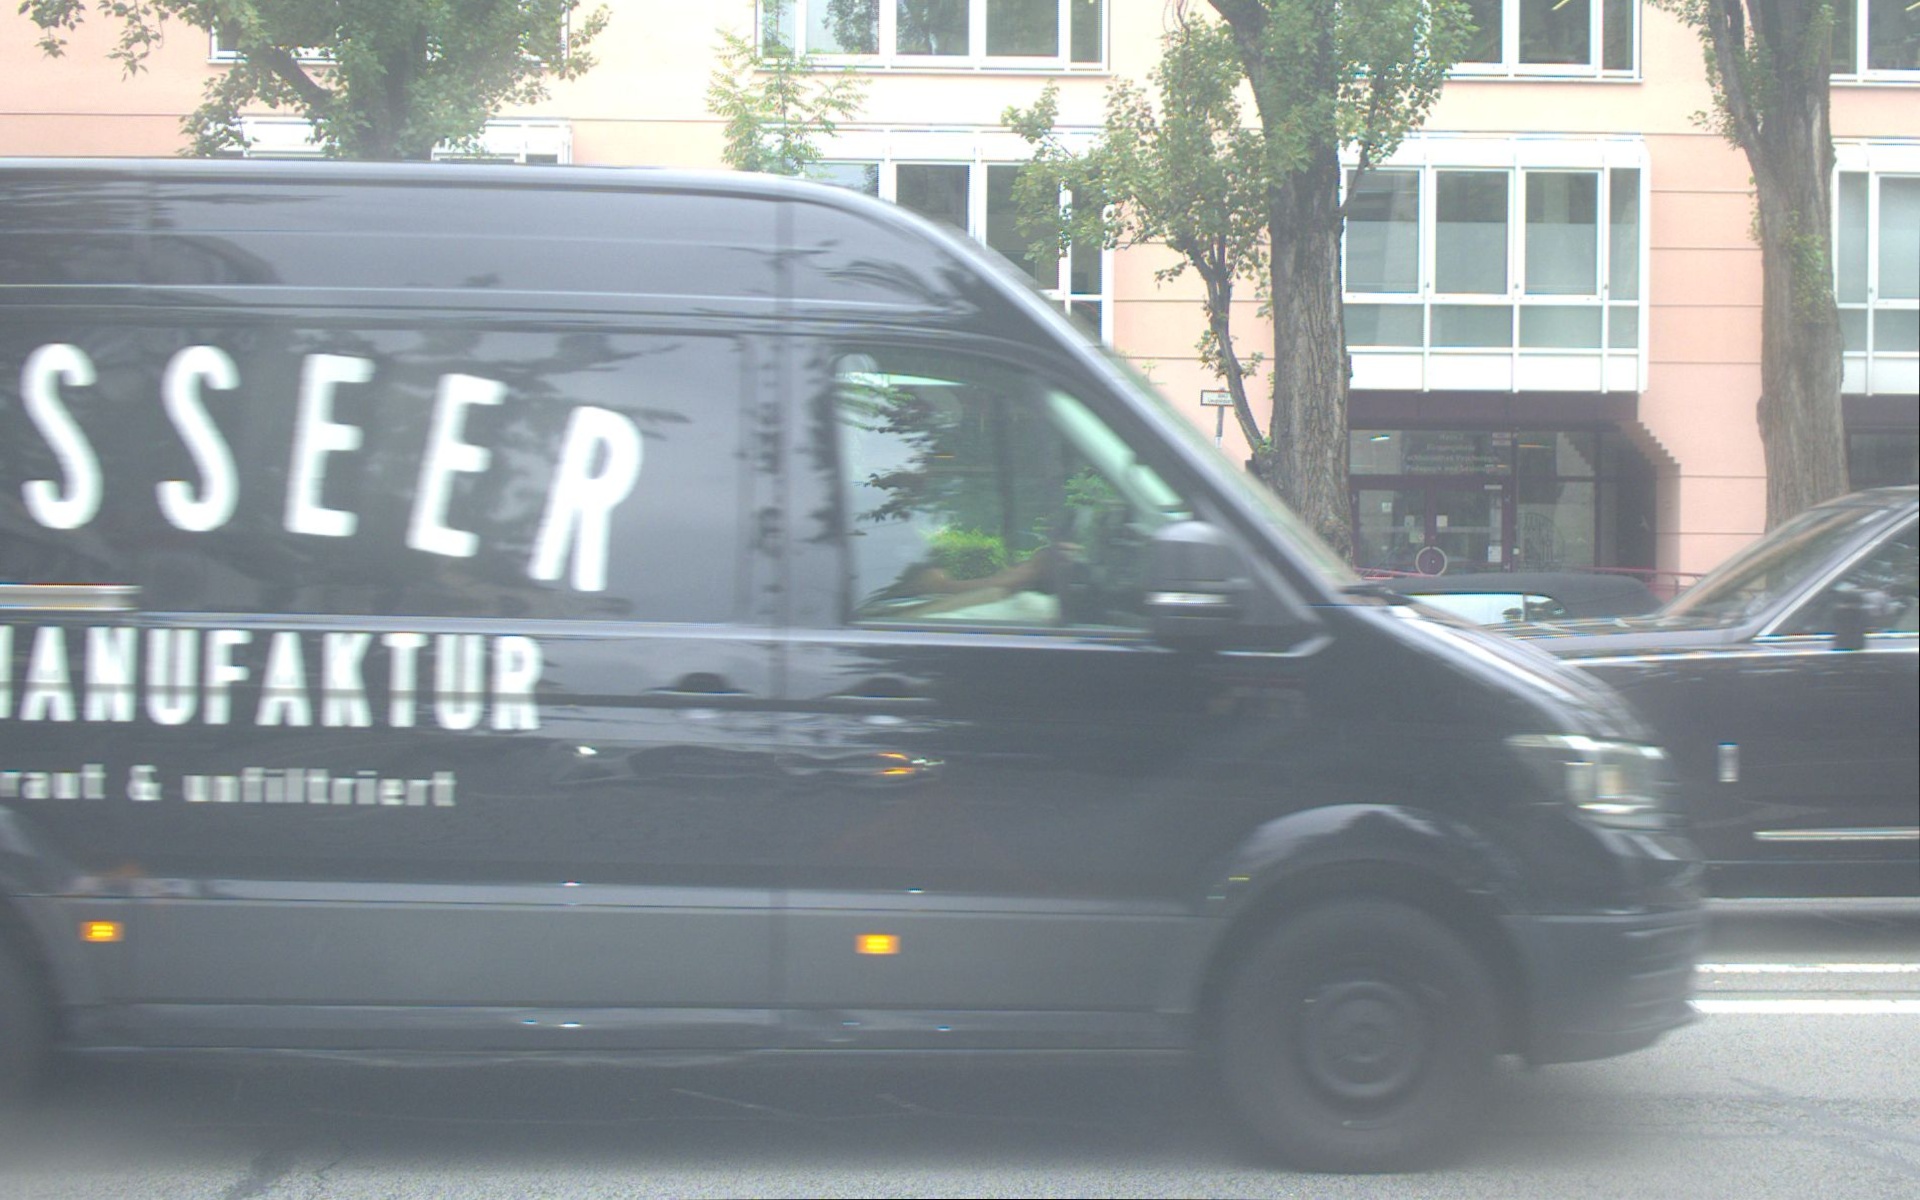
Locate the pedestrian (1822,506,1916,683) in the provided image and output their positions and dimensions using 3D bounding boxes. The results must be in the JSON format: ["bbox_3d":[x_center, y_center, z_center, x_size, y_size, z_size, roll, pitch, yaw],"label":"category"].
[{"bbox_3d":[8.868,-0.061,33.563,0.707,1.707,0.732,1,1,0],"label":"pedestrian"}]

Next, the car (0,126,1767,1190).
[{"bbox_3d":[-1.049,0.101,9.323,5.911,2.547,2.083,0,3,-3],"label":"car"}]

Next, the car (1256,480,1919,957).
[{"bbox_3d":[3.855,0.460,13.778,5.046,1.743,2.000,0,-1,-5],"label":"car"}]

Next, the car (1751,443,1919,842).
[{"bbox_3d":[7.593,0.222,19.964,5.478,2.189,2.024,0,1,-2],"label":"car"}]

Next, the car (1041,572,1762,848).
[{"bbox_3d":[2.418,0.592,19.512,3.860,1.444,1.678,0,1,0],"label":"car"}]
